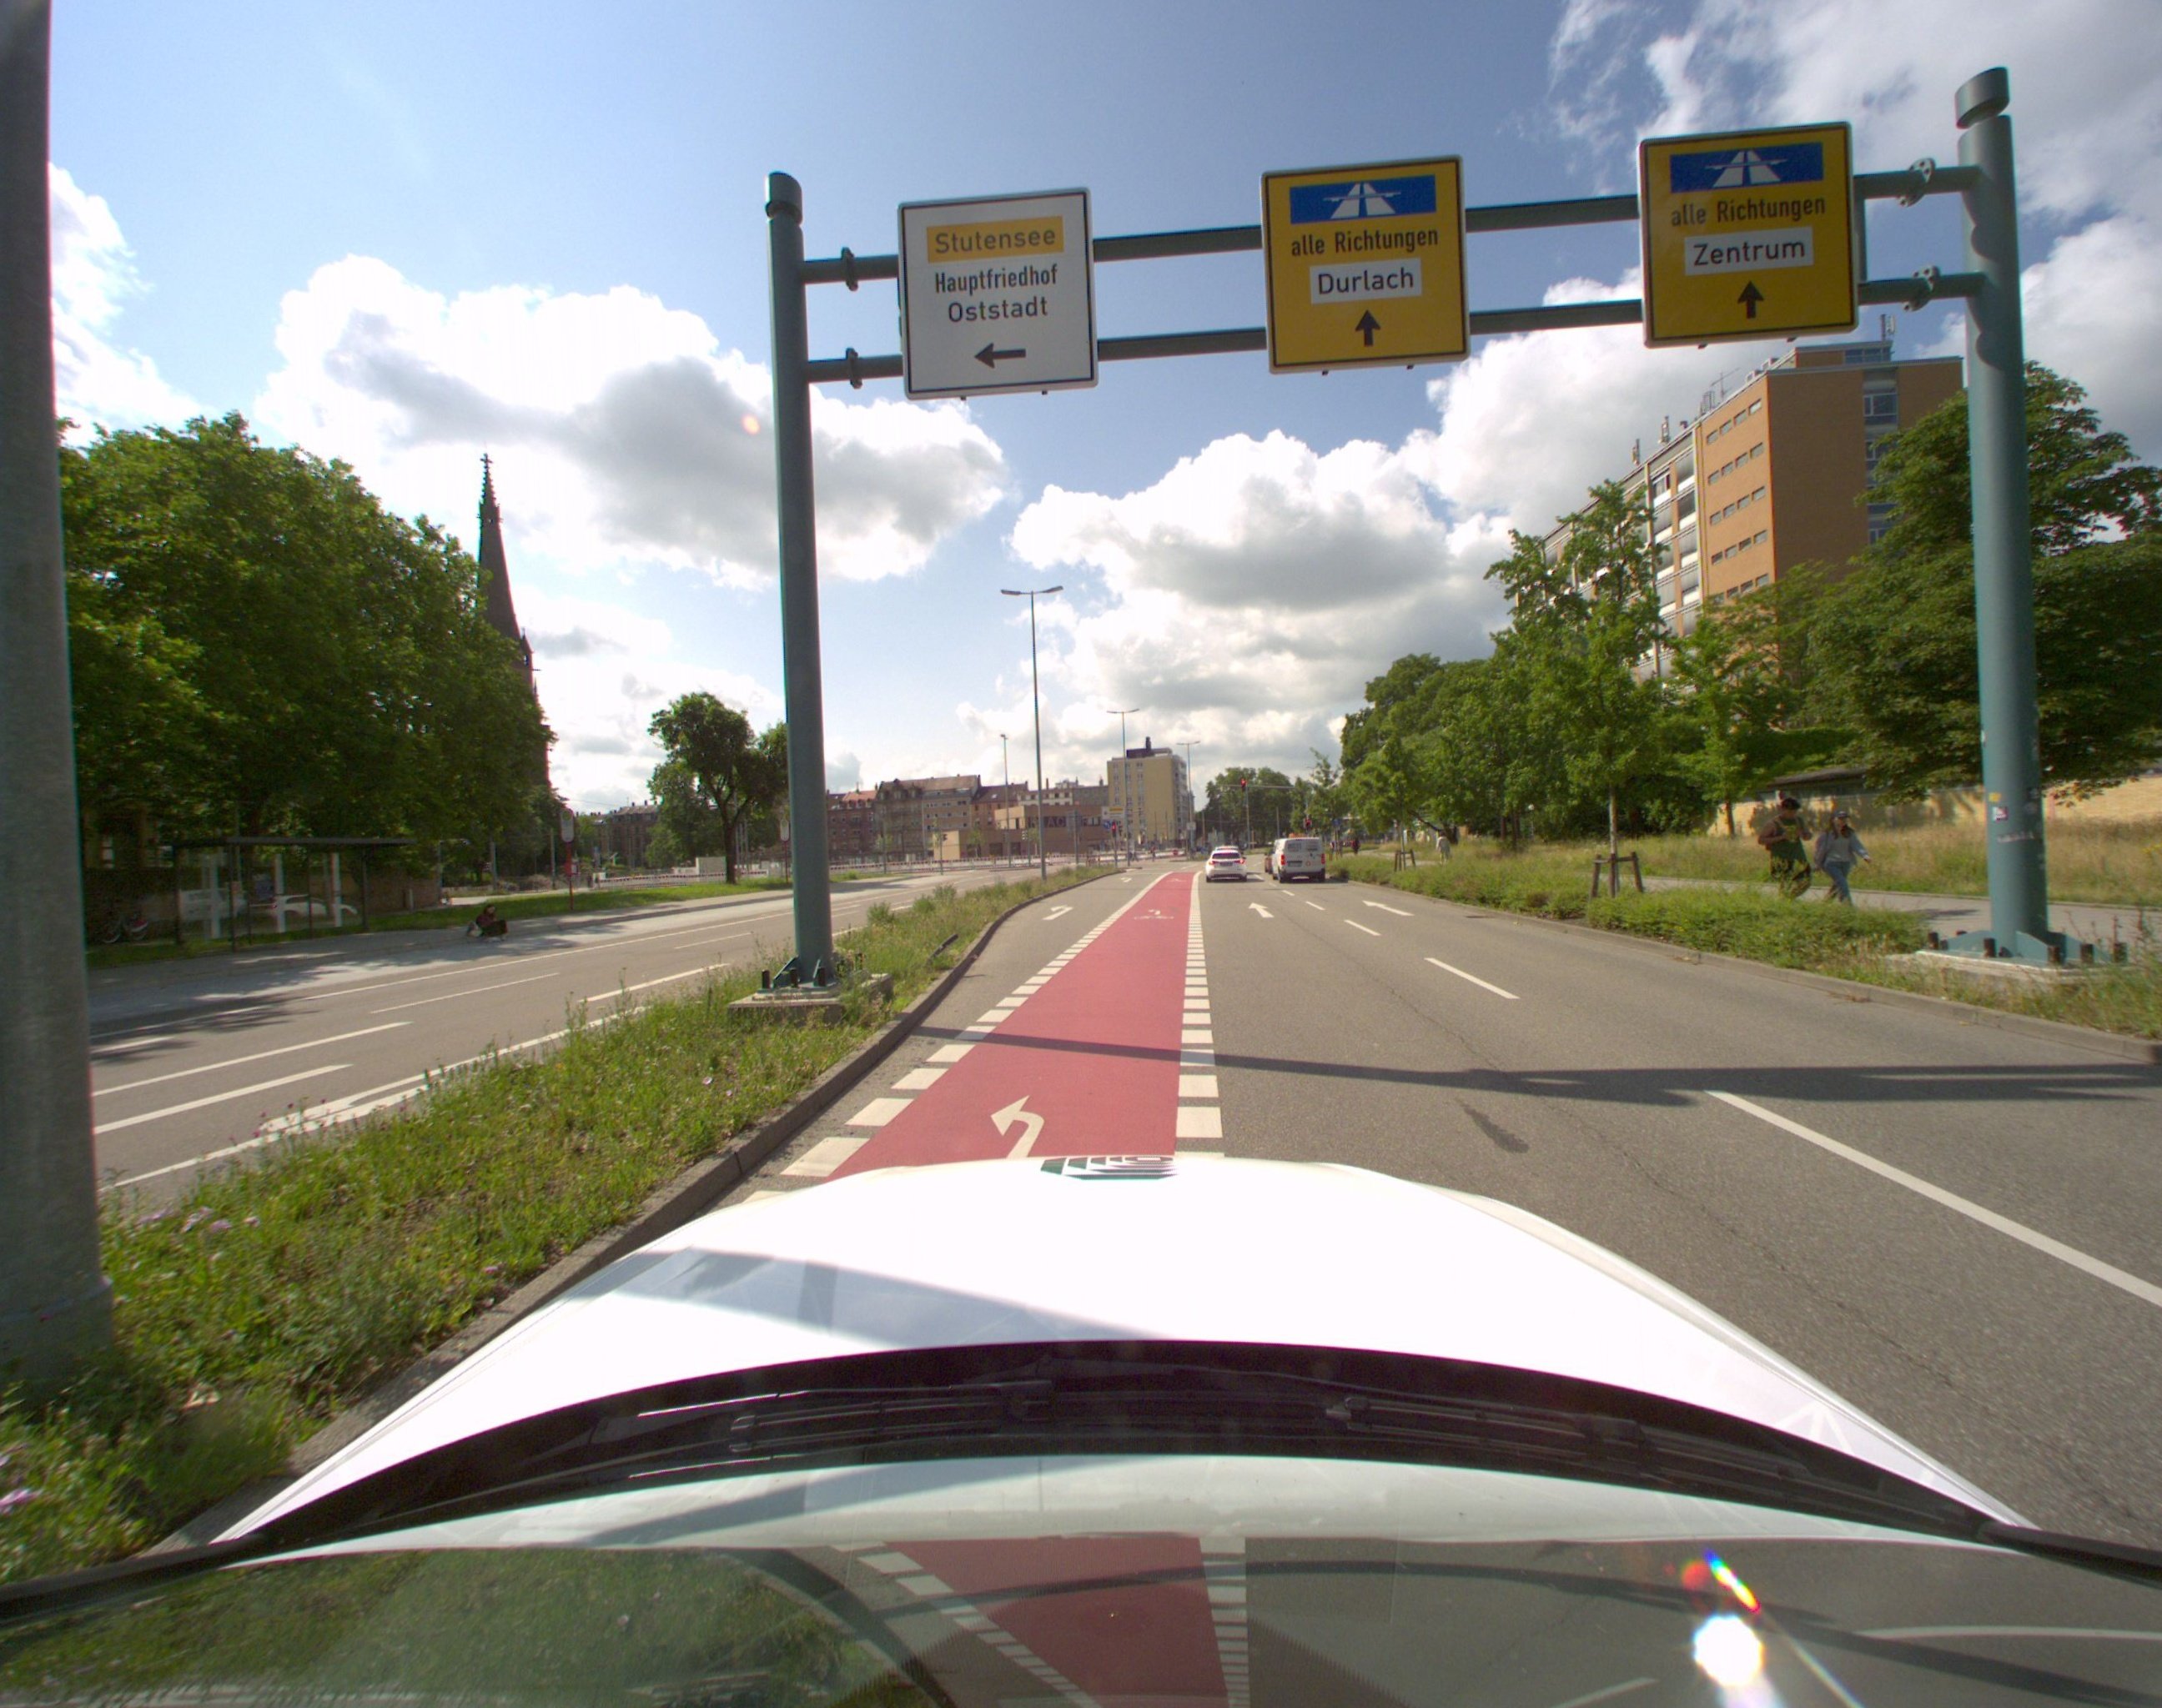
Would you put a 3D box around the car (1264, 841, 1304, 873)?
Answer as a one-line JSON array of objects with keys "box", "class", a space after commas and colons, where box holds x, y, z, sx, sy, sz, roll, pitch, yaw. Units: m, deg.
[{"box": [11.291, 0.116, 45.516, 1.671, 1.641, 4.473, -2, 0, 8], "class": "car"}]

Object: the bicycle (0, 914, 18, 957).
[{"box": [-27.587, 2.085, 20.186, 0.583, 1.073, 1.623, -2, 0, -14], "class": "bicycle"}]

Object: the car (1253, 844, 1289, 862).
[{"box": [19.518, -0.073, 83.448, 1.974, 1.816, 4.025, 0, 0, 40], "class": "car"}]

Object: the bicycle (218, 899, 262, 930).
[{"box": [-30.678, 2.208, 29.719, 0.391, 1.011, 1.364, -3, 0, -13], "class": "bicycle"}]

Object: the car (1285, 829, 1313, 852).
[{"box": [28.263, -1.733, 105.641, 2.109, 2.780, 4.668, -3, 0, 32], "class": "car"}]

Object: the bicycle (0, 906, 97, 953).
[{"box": [-28.154, 2.039, 22.188, 0.582, 1.073, 1.864, -2, 0, -10], "class": "bicycle"}]

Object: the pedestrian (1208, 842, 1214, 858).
[{"box": [14.073, -0.464, 87.944, 0.520, 1.684, 0.626, -2, 0, 17], "class": "pedestrian"}]

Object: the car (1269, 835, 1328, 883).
[{"box": [9.372, 0.179, 35.461, 1.931, 1.870, 4.837, -3, 0, 9], "class": "car"}]

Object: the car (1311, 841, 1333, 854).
[{"box": [37.821, -1.021, 127.622, 1.972, 1.938, 4.668, -3, 0, 32], "class": "car"}]

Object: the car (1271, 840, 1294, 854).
[{"box": [30.265, -1.100, 122.212, 1.986, 1.966, 4.668, -3, 0, 32], "class": "car"}]

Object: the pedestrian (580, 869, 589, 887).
[{"box": [-52.826, 2.527, 86.605, 0.523, 1.850, 0.501, -3, 0, 15], "class": "pedestrian"}]

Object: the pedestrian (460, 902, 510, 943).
[{"box": [-15.419, 1.765, 21.071, 0.691, 0.963, 0.744, -2, 0, 6], "class": "pedestrian"}]

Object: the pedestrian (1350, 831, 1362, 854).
[{"box": [20.964, -0.852, 62.136, 0.737, 1.735, 0.681, -3, 0, 11], "class": "pedestrian"}]

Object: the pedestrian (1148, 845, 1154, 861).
[{"box": [7.531, -0.126, 87.513, 0.520, 1.733, 0.626, -2, 0, 17], "class": "pedestrian"}]

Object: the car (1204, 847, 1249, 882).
[{"box": [6.665, 0.448, 37.545, 1.893, 1.424, 4.396, -3, 0, 9], "class": "car"}]

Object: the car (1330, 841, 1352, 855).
[{"box": [40.016, -0.903, 125.363, 1.972, 1.938, 4.668, -3, 0, 32], "class": "car"}]

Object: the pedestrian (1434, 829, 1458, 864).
[{"box": [17.591, -0.374, 39.276, 0.863, 1.638, 0.723, -2, 0, 9], "class": "pedestrian"}]

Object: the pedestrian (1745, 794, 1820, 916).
[{"box": [10.699, 0.011, 12.439, 0.564, 1.801, 0.640, -2, 0, 7], "class": "pedestrian"}]

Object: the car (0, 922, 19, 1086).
[{"box": [-10.721, 1.413, 5.378, 1.691, 1.445, 4.154, -4, 0, 7], "class": "car"}]

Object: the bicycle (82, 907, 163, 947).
[{"box": [-28.947, 2.188, 24.641, 0.471, 1.011, 1.955, -3, 0, -13], "class": "bicycle"}]

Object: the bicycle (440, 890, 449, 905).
[{"box": [-43.244, 2.974, 55.289, 0.396, 0.992, 1.504, -2, -1, -40], "class": "bicycle"}]

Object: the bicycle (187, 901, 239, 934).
[{"box": [-30.043, 2.179, 28.208, 0.471, 1.011, 1.449, -3, 0, -13], "class": "bicycle"}]

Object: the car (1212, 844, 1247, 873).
[{"box": [8.339, 0.218, 45.973, 1.780, 1.539, 4.021, -1, 1, 9], "class": "car"}]

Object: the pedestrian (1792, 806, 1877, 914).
[{"box": [11.548, 0.089, 12.504, 0.619, 1.581, 0.710, -3, 0, 7], "class": "pedestrian"}]

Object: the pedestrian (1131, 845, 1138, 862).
[{"box": [5.890, -0.061, 89.080, 0.520, 1.733, 0.626, -2, 0, 17], "class": "pedestrian"}]

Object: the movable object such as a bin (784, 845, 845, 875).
[{"box": [-28.348, 0.661, 86.745, 5.570, 2.884, 2.261, -3, 0, -39], "class": "movable object such as a bin"}]
